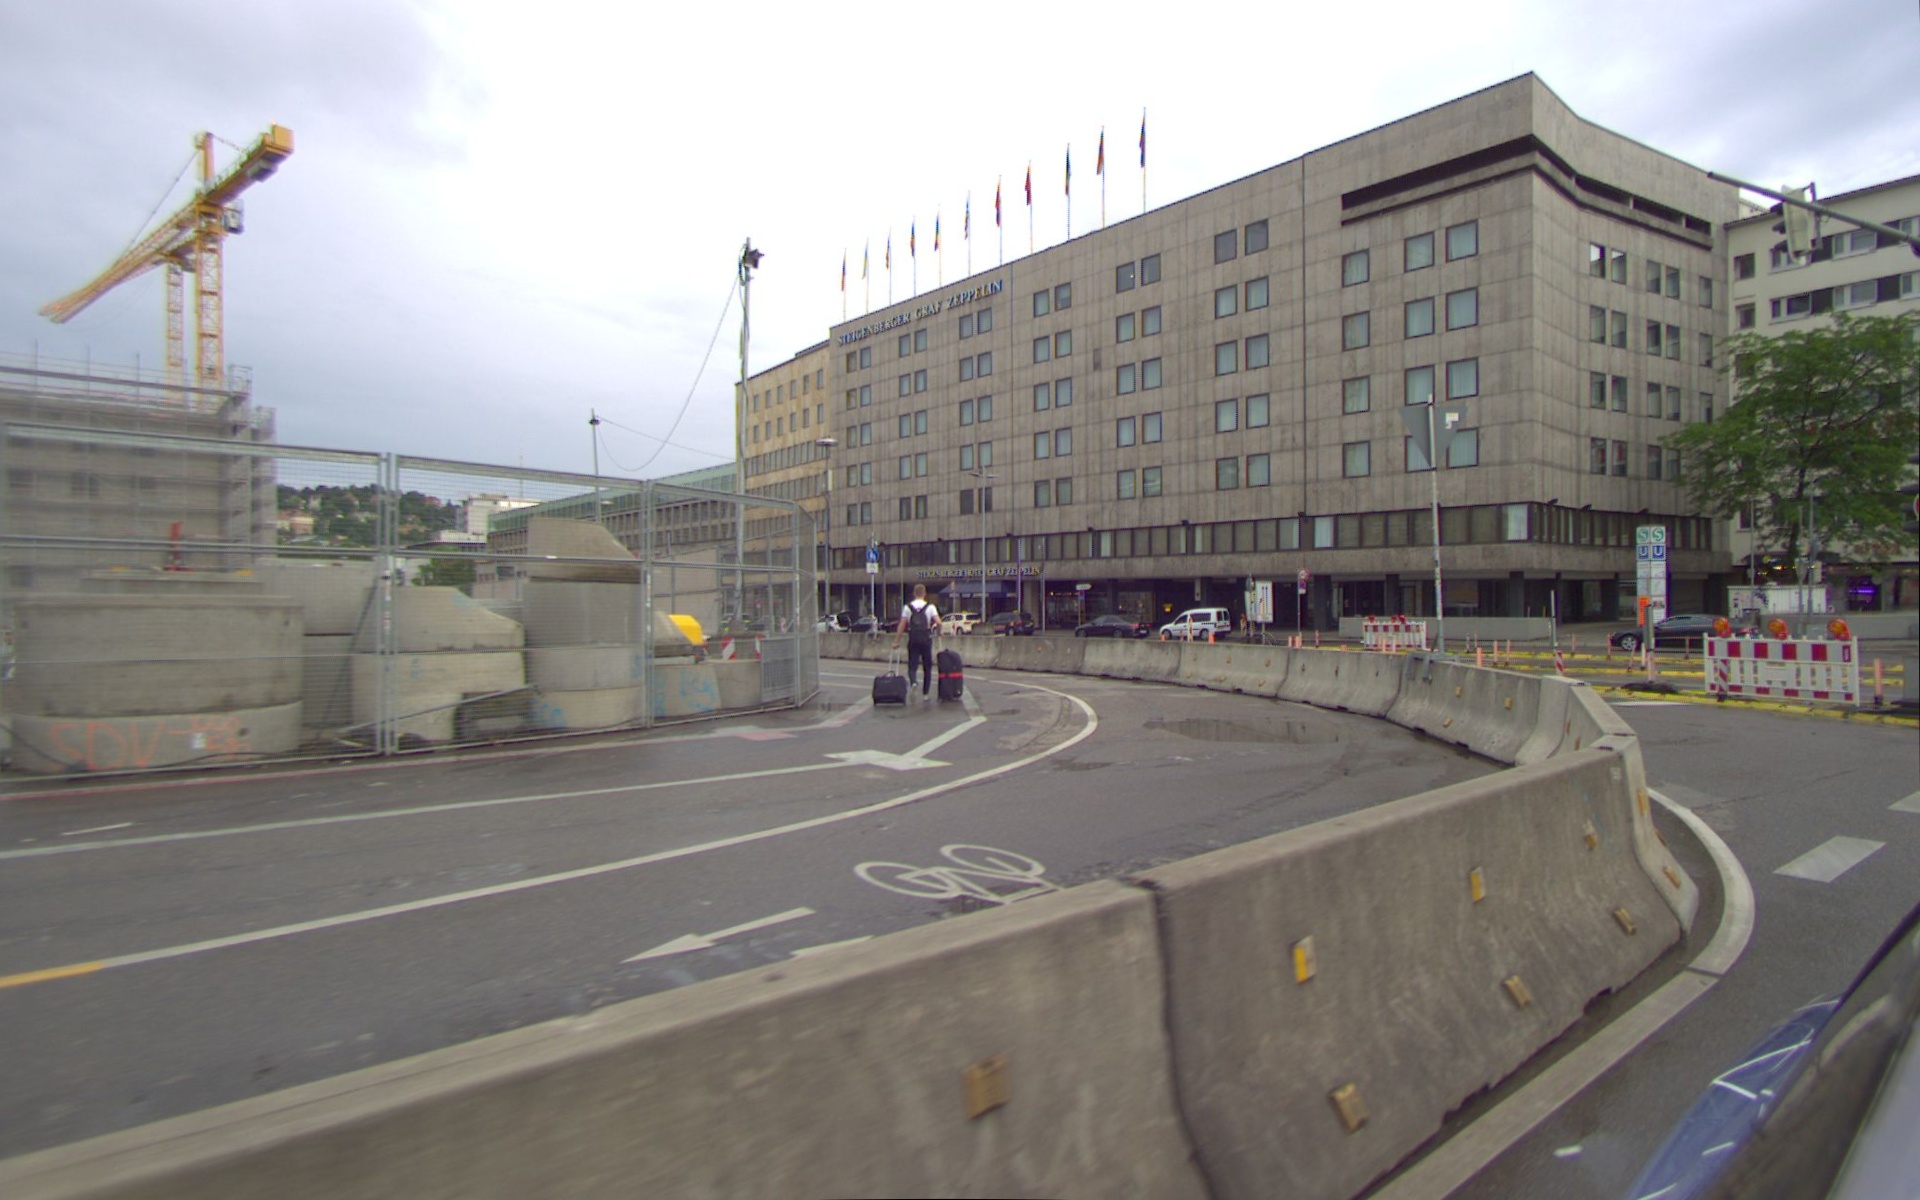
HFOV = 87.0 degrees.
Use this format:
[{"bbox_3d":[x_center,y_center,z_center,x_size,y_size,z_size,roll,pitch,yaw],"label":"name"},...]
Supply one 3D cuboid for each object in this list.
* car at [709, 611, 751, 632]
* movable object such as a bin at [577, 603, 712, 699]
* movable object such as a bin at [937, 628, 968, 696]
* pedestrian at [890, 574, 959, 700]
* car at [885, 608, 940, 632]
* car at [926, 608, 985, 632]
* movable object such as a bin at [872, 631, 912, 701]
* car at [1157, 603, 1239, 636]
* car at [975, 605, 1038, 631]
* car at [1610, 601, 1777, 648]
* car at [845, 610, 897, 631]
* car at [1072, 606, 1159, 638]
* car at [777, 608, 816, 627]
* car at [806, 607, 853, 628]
[{"bbox_3d":[-23.075,2.163,101.315,1.873,1.953,5.065,1,-2,-41],"label":"car"},{"bbox_3d":[-5.233,0.824,16.781,1.857,1.490,1.189,2,-1,-32],"label":"movable object such as a bin"},{"bbox_3d":[-0.114,0.964,15.840,0.424,1.029,0.521,-1,-1,5],"label":"movable object such as a bin"},{"bbox_3d":[-0.539,0.564,15.702,0.985,1.889,0.777,-1,-1,5],"label":"pedestrian"},{"bbox_3d":[-3.684,1.510,78.020,1.874,1.790,4.641,0,-1,-39],"label":"car"},{"bbox_3d":[-0.342,1.460,73.878,1.790,1.720,4.570,0,-1,-41],"label":"car"},{"bbox_3d":[-1.025,0.996,15.342,0.510,1.029,0.552,-1,-1,5],"label":"movable object such as a bin"},{"bbox_3d":[13.523,1.100,57.785,1.749,1.785,4.364,0,-1,-41],"label":"car"},{"bbox_3d":[3.167,1.237,69.808,1.789,1.750,4.509,0,-1,-39],"label":"car"},{"bbox_3d":[26.798,0.871,37.088,1.984,1.619,4.653,0,-1,-42],"label":"car"},{"bbox_3d":[-7.278,1.681,82.305,1.875,1.681,4.609,0,-1,-40],"label":"car"},{"bbox_3d":[8.397,1.178,54.923,1.980,1.619,4.661,0,-1,-36],"label":"car"},{"bbox_3d":[-14.760,1.596,91.252,1.727,1.703,4.225,0,-2,-37],"label":"car"},{"bbox_3d":[-11.270,1.509,86.997,1.729,1.780,4.702,1,-1,-41],"label":"car"}]
